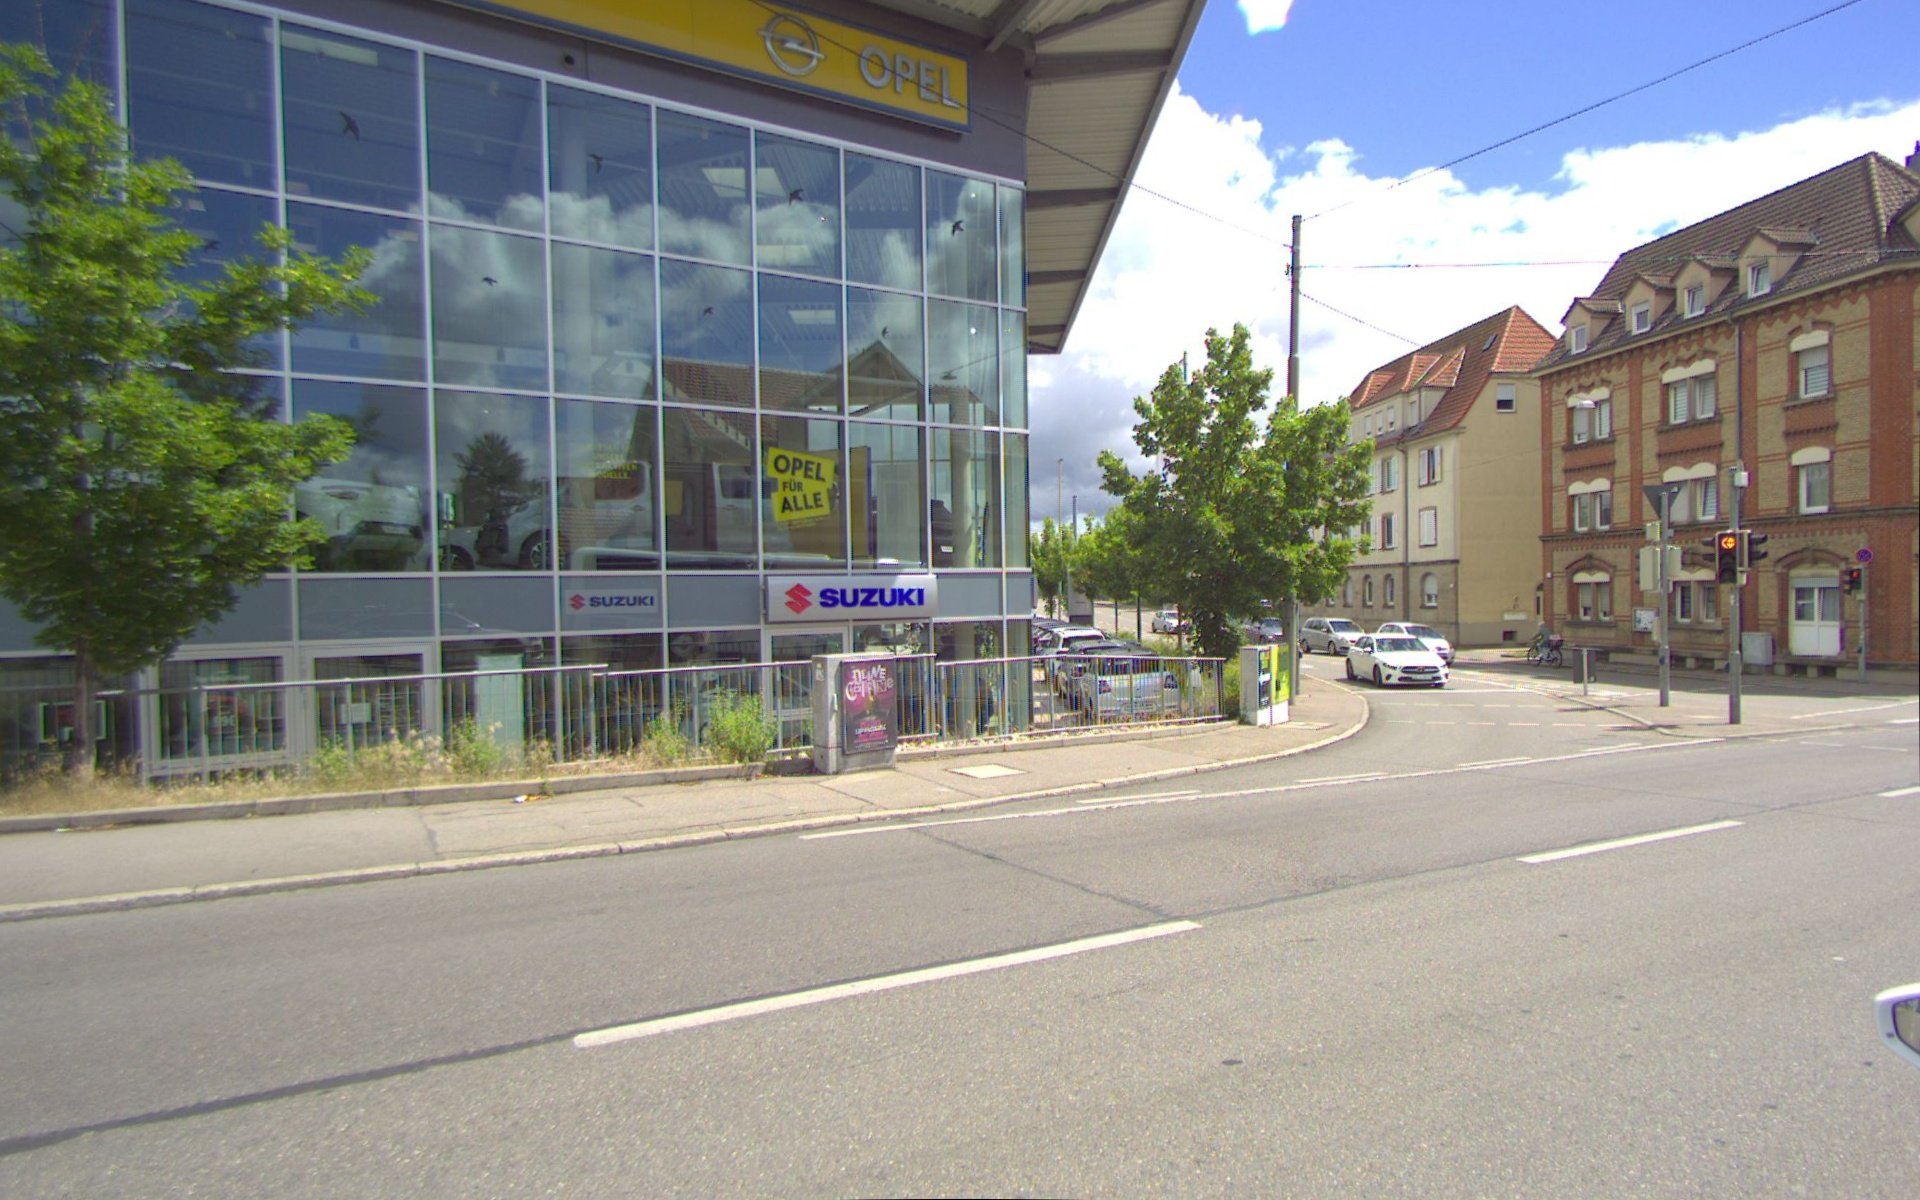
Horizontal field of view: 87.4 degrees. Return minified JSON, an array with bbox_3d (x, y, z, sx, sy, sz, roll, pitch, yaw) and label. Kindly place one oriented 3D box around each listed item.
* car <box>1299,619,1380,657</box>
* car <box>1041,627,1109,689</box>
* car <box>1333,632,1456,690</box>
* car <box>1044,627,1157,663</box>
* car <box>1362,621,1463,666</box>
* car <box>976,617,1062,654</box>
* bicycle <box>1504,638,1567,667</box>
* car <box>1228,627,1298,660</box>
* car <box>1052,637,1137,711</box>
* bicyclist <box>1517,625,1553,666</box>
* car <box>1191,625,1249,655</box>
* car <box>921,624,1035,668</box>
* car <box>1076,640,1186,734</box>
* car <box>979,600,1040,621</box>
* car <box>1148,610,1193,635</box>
[{"bbox_3d":[16.735,1.643,44.509,1.715,1.539,3.996,1,-1,-7],"label":"car"},{"bbox_3d":[3.278,1.636,29.091,1.487,1.596,3.414,1,-1,-2],"label":"car"},{"bbox_3d":[12.314,1.681,28.789,1.825,1.466,4.393,1,-1,3],"label":"car"},{"bbox_3d":[5.164,1.636,37.207,3.921,1.202,1.818,1,-1,0],"label":"car"},{"bbox_3d":[17.061,1.608,38.084,1.670,1.517,3.995,1,-1,-7],"label":"car"},{"bbox_3d":[2.647,1.589,45.866,1.974,1.599,4.476,1,-1,-26],"label":"car"},{"bbox_3d":[21.666,1.961,37.835,0.597,1.033,2.181,1,-1,-21],"label":"bicycle"},{"bbox_3d":[15.332,2.186,51.016,1.963,1.539,3.996,1,-1,-7],"label":"car"},{"bbox_3d":[3.228,1.757,24.697,1.487,1.543,3.792,1,-1,-2],"label":"car"},{"bbox_3d":[21.670,1.710,37.851,0.581,1.519,1.069,1,-1,-21],"label":"bicyclist"},{"bbox_3d":[14.922,2.284,57.874,1.963,1.664,3.996,1,-1,-7],"label":"car"},{"bbox_3d":[0.680,1.662,37.217,3.919,1.478,1.605,1,-1,15],"label":"car"},{"bbox_3d":[3.392,1.691,20.548,1.720,1.596,3.687,2,-1,3],"label":"car"},{"bbox_3d":[3.256,0.705,66.359,3.921,1.311,1.818,1,-1,0],"label":"car"},{"bbox_3d":[14.085,1.479,67.533,1.961,1.607,4.345,1,0,-2],"label":"car"}]
